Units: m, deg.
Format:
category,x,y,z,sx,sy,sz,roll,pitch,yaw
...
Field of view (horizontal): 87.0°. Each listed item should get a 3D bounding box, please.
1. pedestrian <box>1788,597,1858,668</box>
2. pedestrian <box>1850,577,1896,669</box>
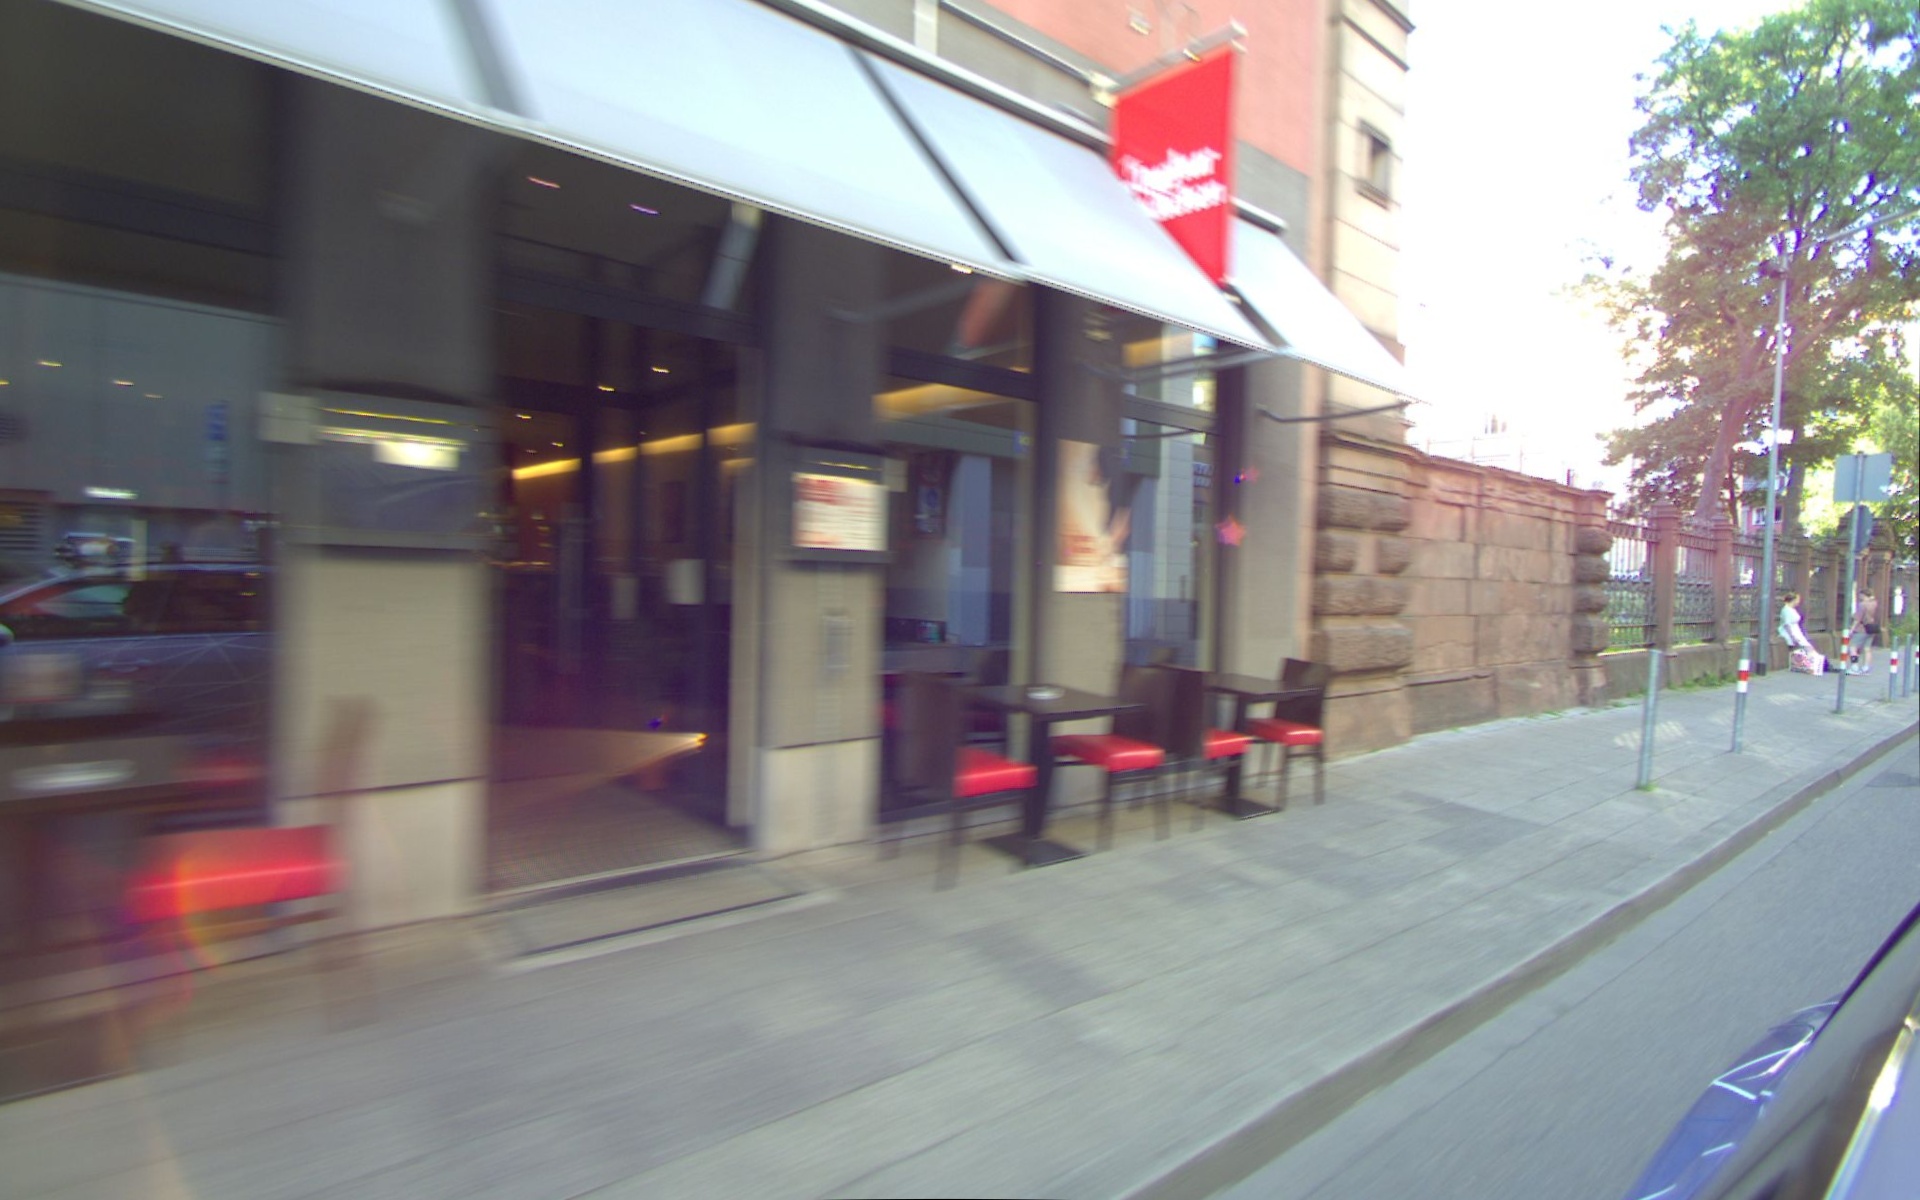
category,x,y,z,sx,sy,sz,roll,pitch,yaw
pedestrian,16.480,0.600,19.328,0.356,1.264,0.927,0,3,-43
pedestrian,17.091,0.426,18.939,0.546,1.666,0.438,1,2,-34
